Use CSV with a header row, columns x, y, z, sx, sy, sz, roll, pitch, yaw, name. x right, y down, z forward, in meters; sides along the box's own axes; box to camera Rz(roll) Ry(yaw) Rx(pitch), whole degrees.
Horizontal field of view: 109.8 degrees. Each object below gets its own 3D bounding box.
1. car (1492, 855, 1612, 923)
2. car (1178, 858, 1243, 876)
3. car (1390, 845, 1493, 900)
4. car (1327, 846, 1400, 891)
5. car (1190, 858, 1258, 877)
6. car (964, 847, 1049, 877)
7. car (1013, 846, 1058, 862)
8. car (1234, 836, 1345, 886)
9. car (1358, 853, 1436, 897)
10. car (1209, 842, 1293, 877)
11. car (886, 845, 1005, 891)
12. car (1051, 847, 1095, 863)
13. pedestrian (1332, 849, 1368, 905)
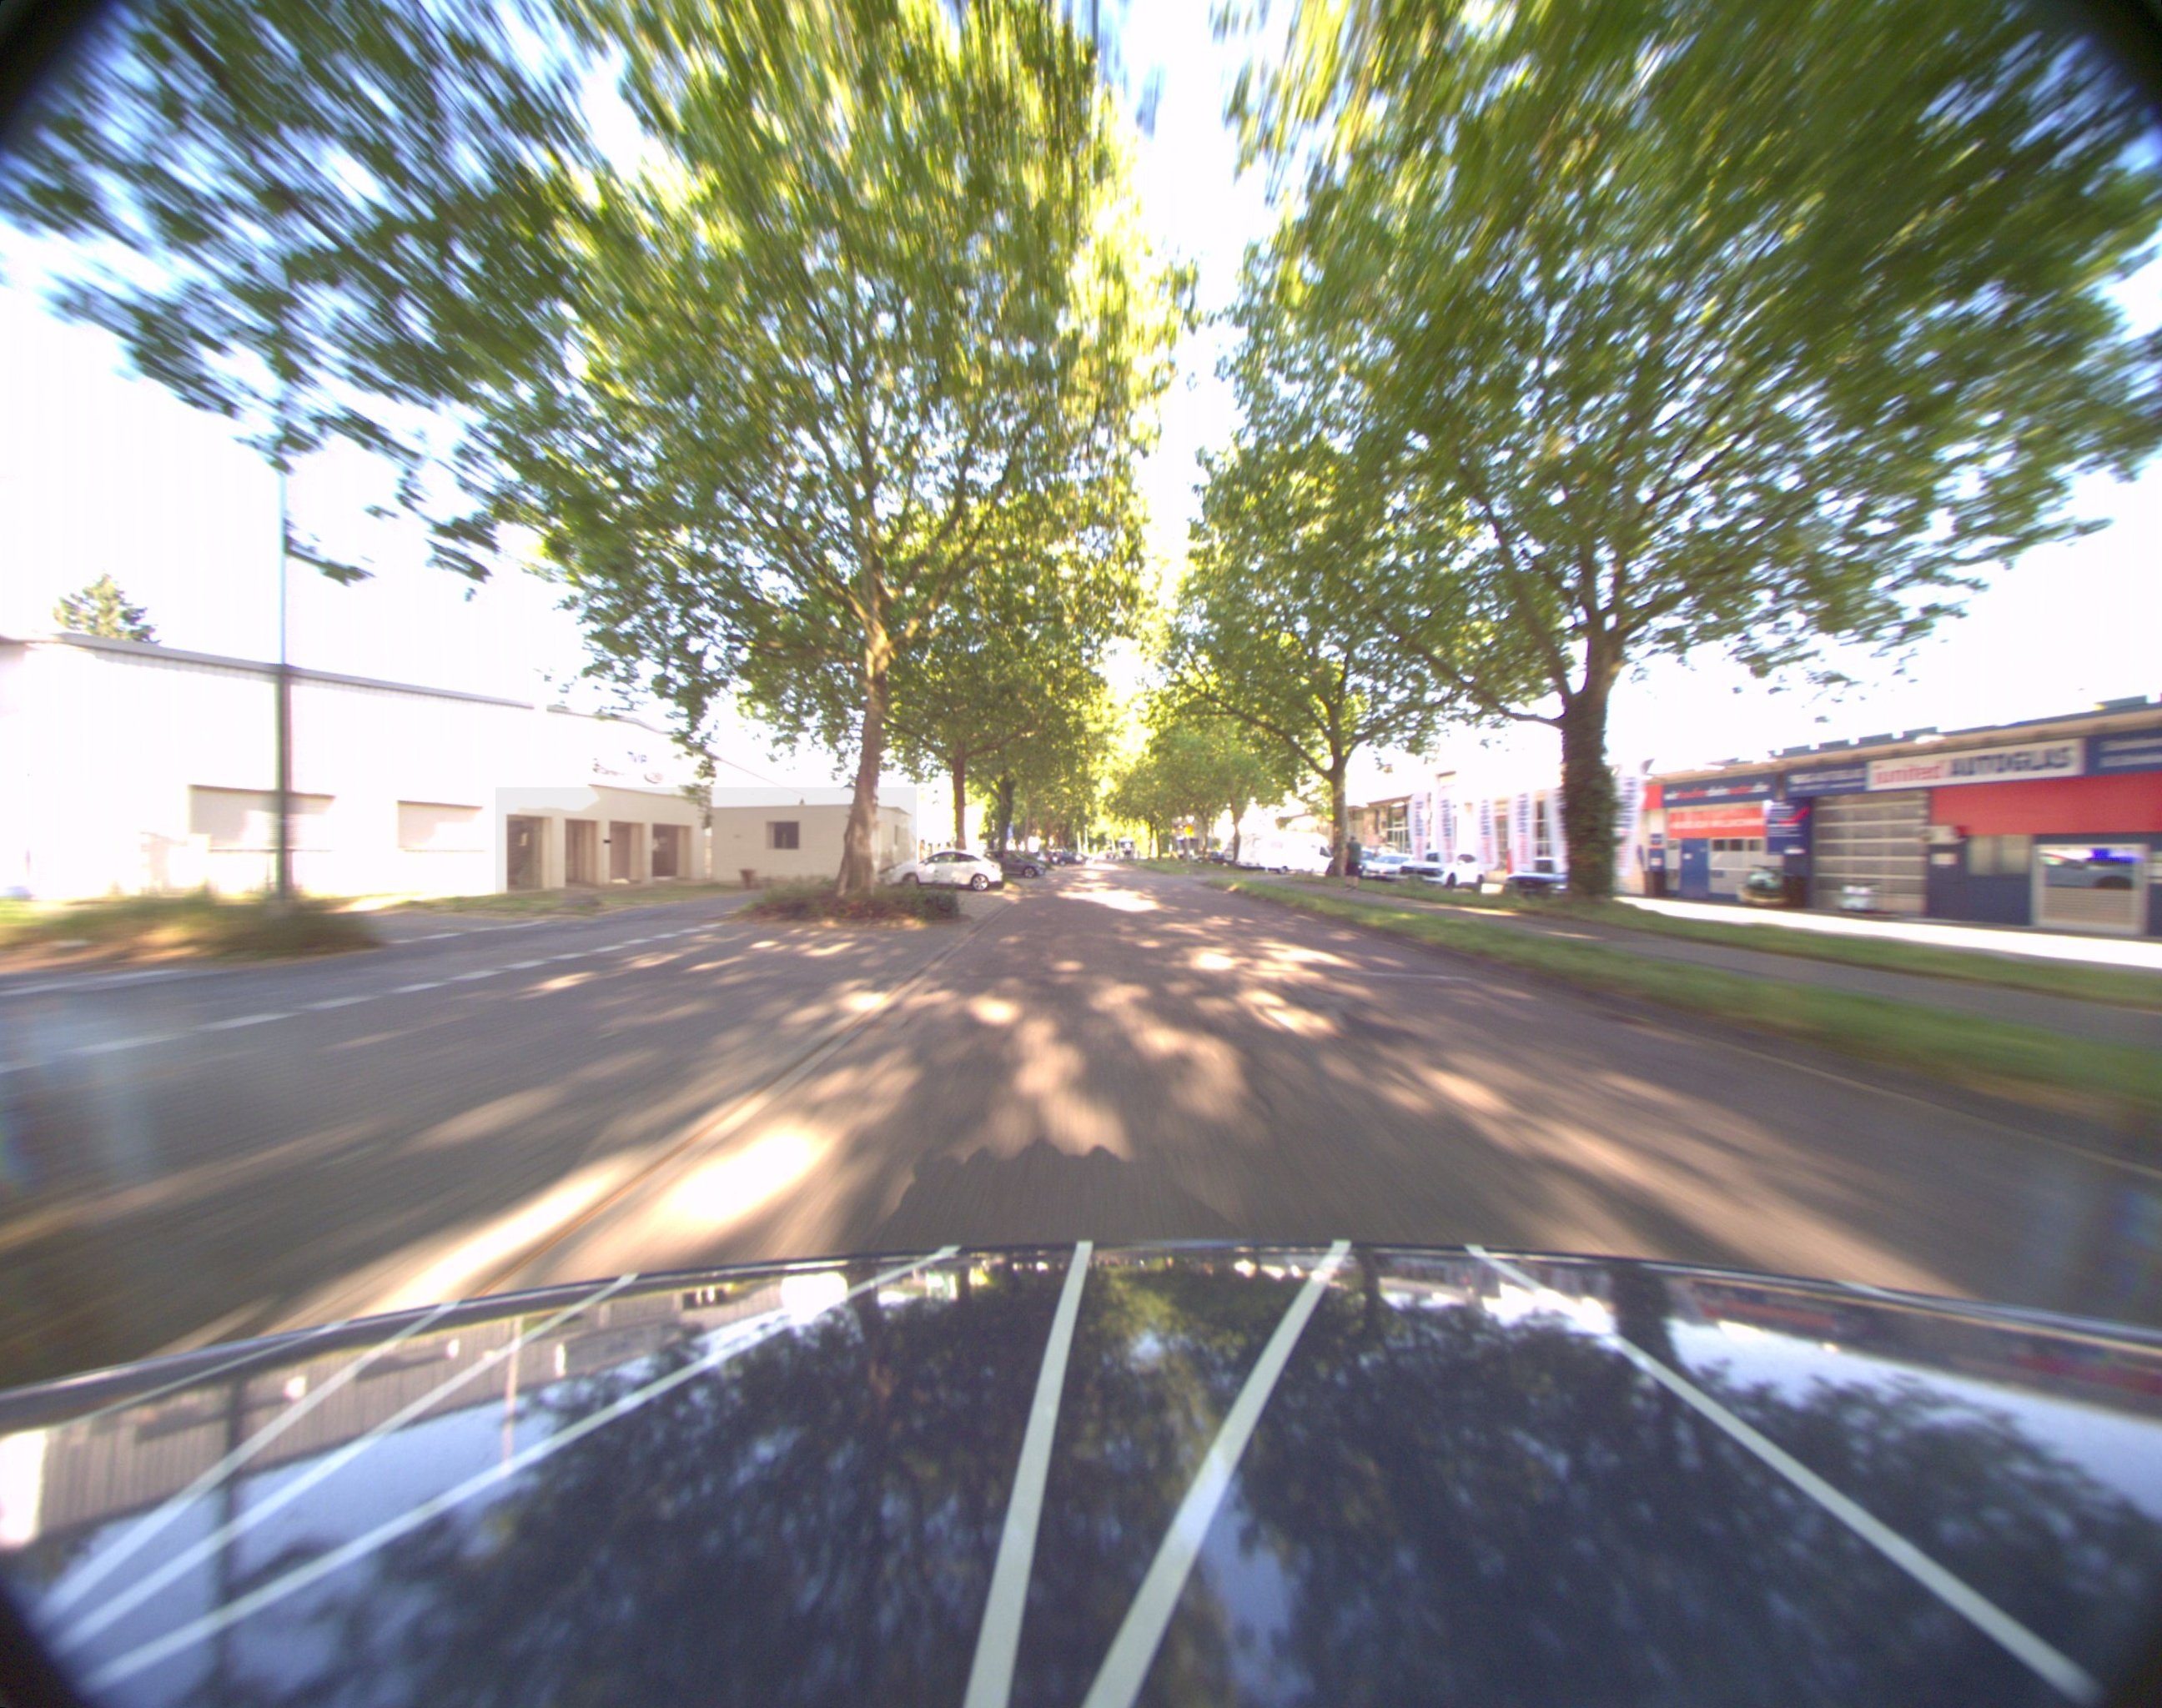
x,y,z,sx,sy,sz,roll,pitch,yaw,name
13.176,0.893,21.169,1.994,1.566,3.849,-1,2,45,car
13.905,1.357,81.624,6.376,1.669,2.722,3,-1,-18,car
13.551,0.625,28.483,4.320,1.741,1.994,-3,2,-43,car
13.191,0.627,35.343,1.994,1.829,4.256,-1,2,38,car
14.802,1.349,78.789,6.428,1.669,2.722,3,-1,-18,car
-3.954,0.428,40.901,4.405,1.410,1.999,2,1,-5,car
-4.508,0.027,74.399,4.299,1.410,1.999,2,1,-5,car
13.569,0.491,49.286,6.972,2.836,2.595,3,-1,-28,car
13.212,0.819,31.614,1.994,1.562,4.059,-1,2,38,car
13.587,0.459,60.565,6.338,2.482,2.595,3,-1,-29,car
-4.830,0.479,27.429,3.944,1.505,1.666,2,2,0,car
-0.786,0.076,76.836,4.296,1.410,2.000,2,1,3,car
8.677,0.725,24.524,0.805,1.763,0.940,-2,2,2,pedestrian
